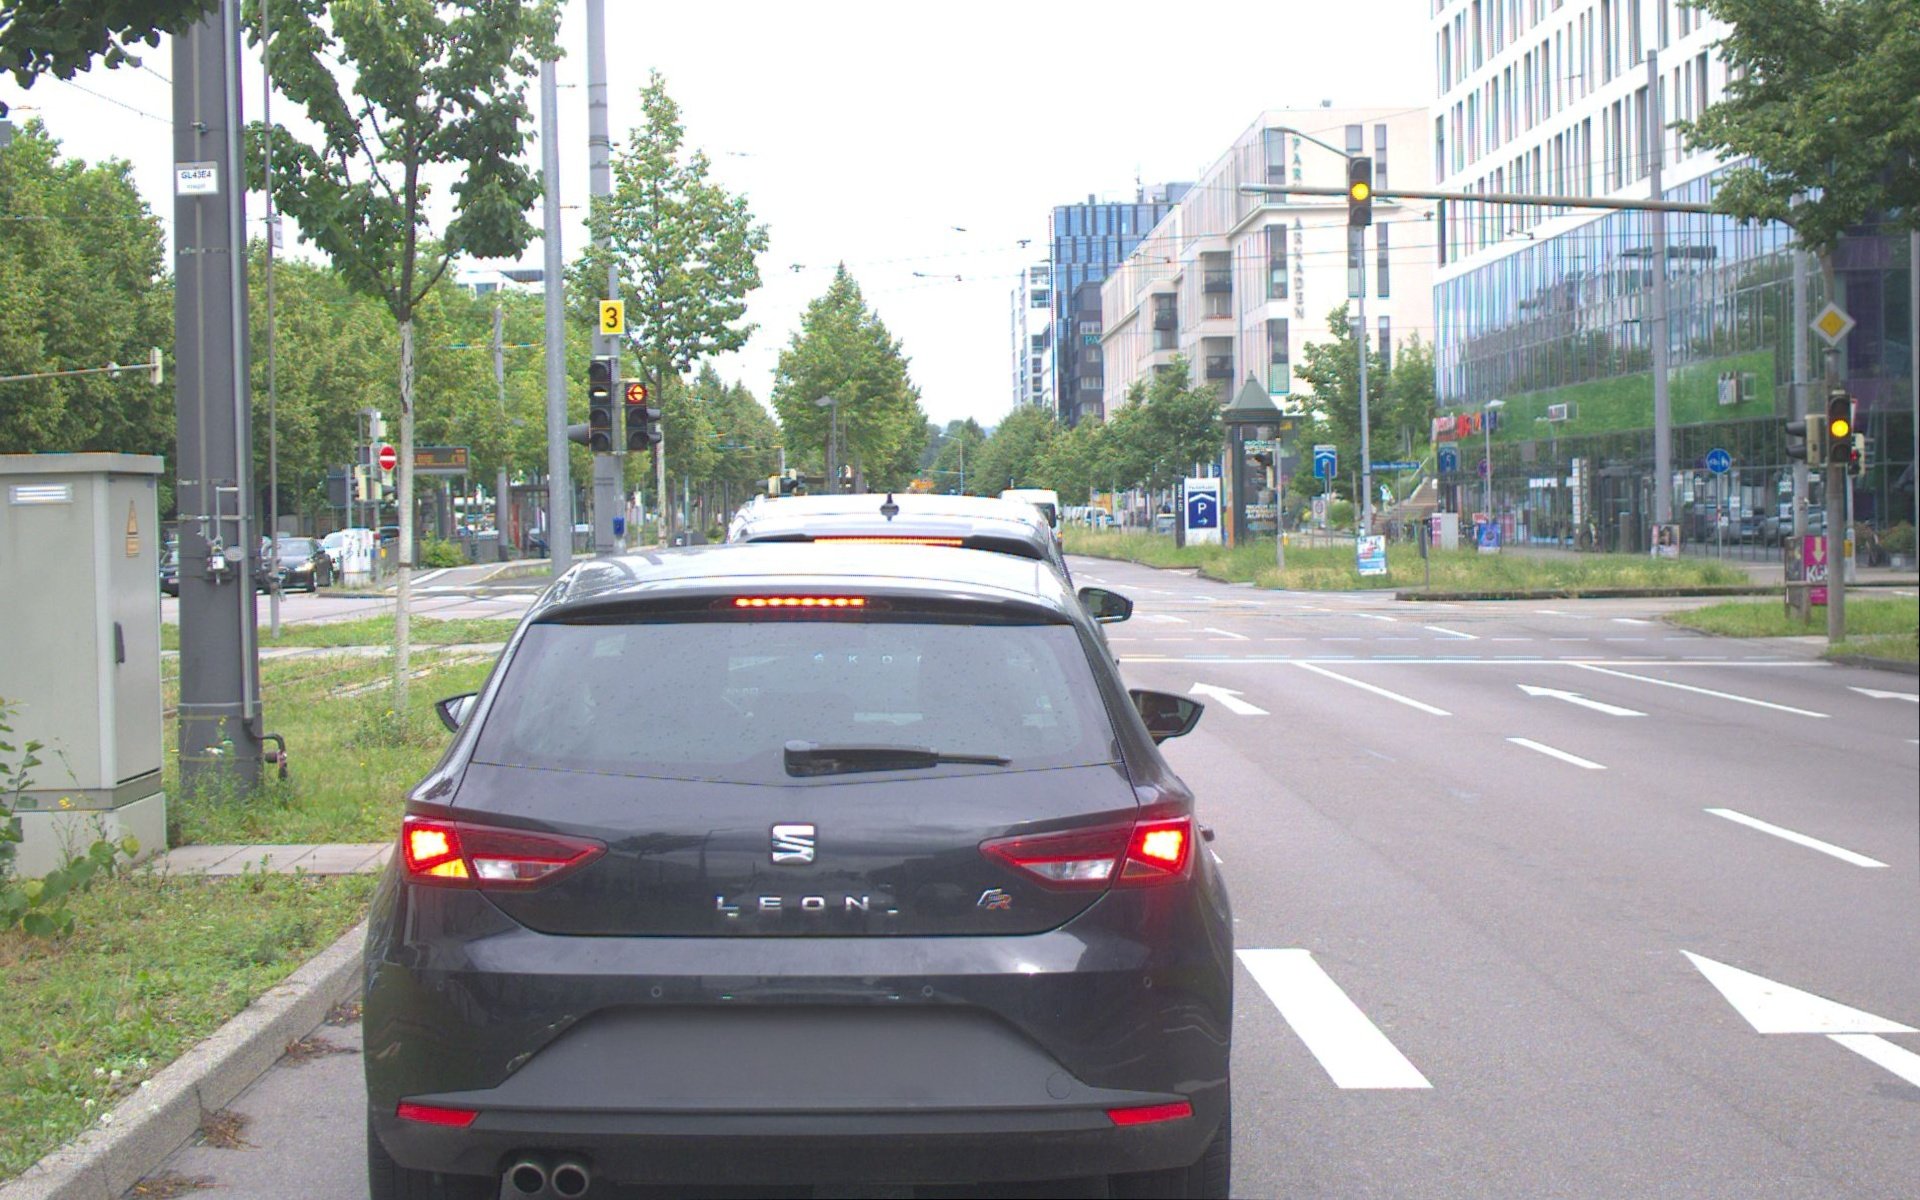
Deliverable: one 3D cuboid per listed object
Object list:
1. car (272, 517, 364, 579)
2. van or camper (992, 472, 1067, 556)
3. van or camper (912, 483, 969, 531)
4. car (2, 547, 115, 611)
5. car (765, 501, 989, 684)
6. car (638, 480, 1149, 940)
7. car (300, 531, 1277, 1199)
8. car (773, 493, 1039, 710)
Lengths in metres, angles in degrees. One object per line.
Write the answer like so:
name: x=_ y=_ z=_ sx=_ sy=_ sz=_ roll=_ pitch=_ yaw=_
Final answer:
car: x=-18.792 y=-1.544 z=100.842 sx=1.993 sy=1.744 sz=4.201 roll=-1 pitch=2 yaw=-2
van or camper: x=2.044 y=-2.593 z=102.574 sx=2.109 sy=2.348 sz=4.924 roll=0 pitch=3 yaw=0
van or camper: x=-0.694 y=-3.362 z=123.715 sx=1.993 sy=1.609 sz=4.789 roll=0 pitch=3 yaw=0
car: x=-23.929 y=-0.580 z=91.352 sx=1.796 sy=1.565 sz=4.328 roll=-1 pitch=2 yaw=1
car: x=-0.758 y=-0.127 z=34.002 sx=1.993 sy=1.676 sz=4.000 roll=1 pitch=2 yaw=2
car: x=-0.258 y=0.337 z=14.288 sx=1.802 sy=1.619 sz=4.000 roll=-1 pitch=2 yaw=-1
car: x=-0.358 y=0.569 z=8.179 sx=1.743 sy=1.412 sz=4.001 roll=1 pitch=2 yaw=-1
car: x=-0.380 y=-0.053 z=28.835 sx=1.994 sy=1.676 sz=4.000 roll=1 pitch=2 yaw=2
